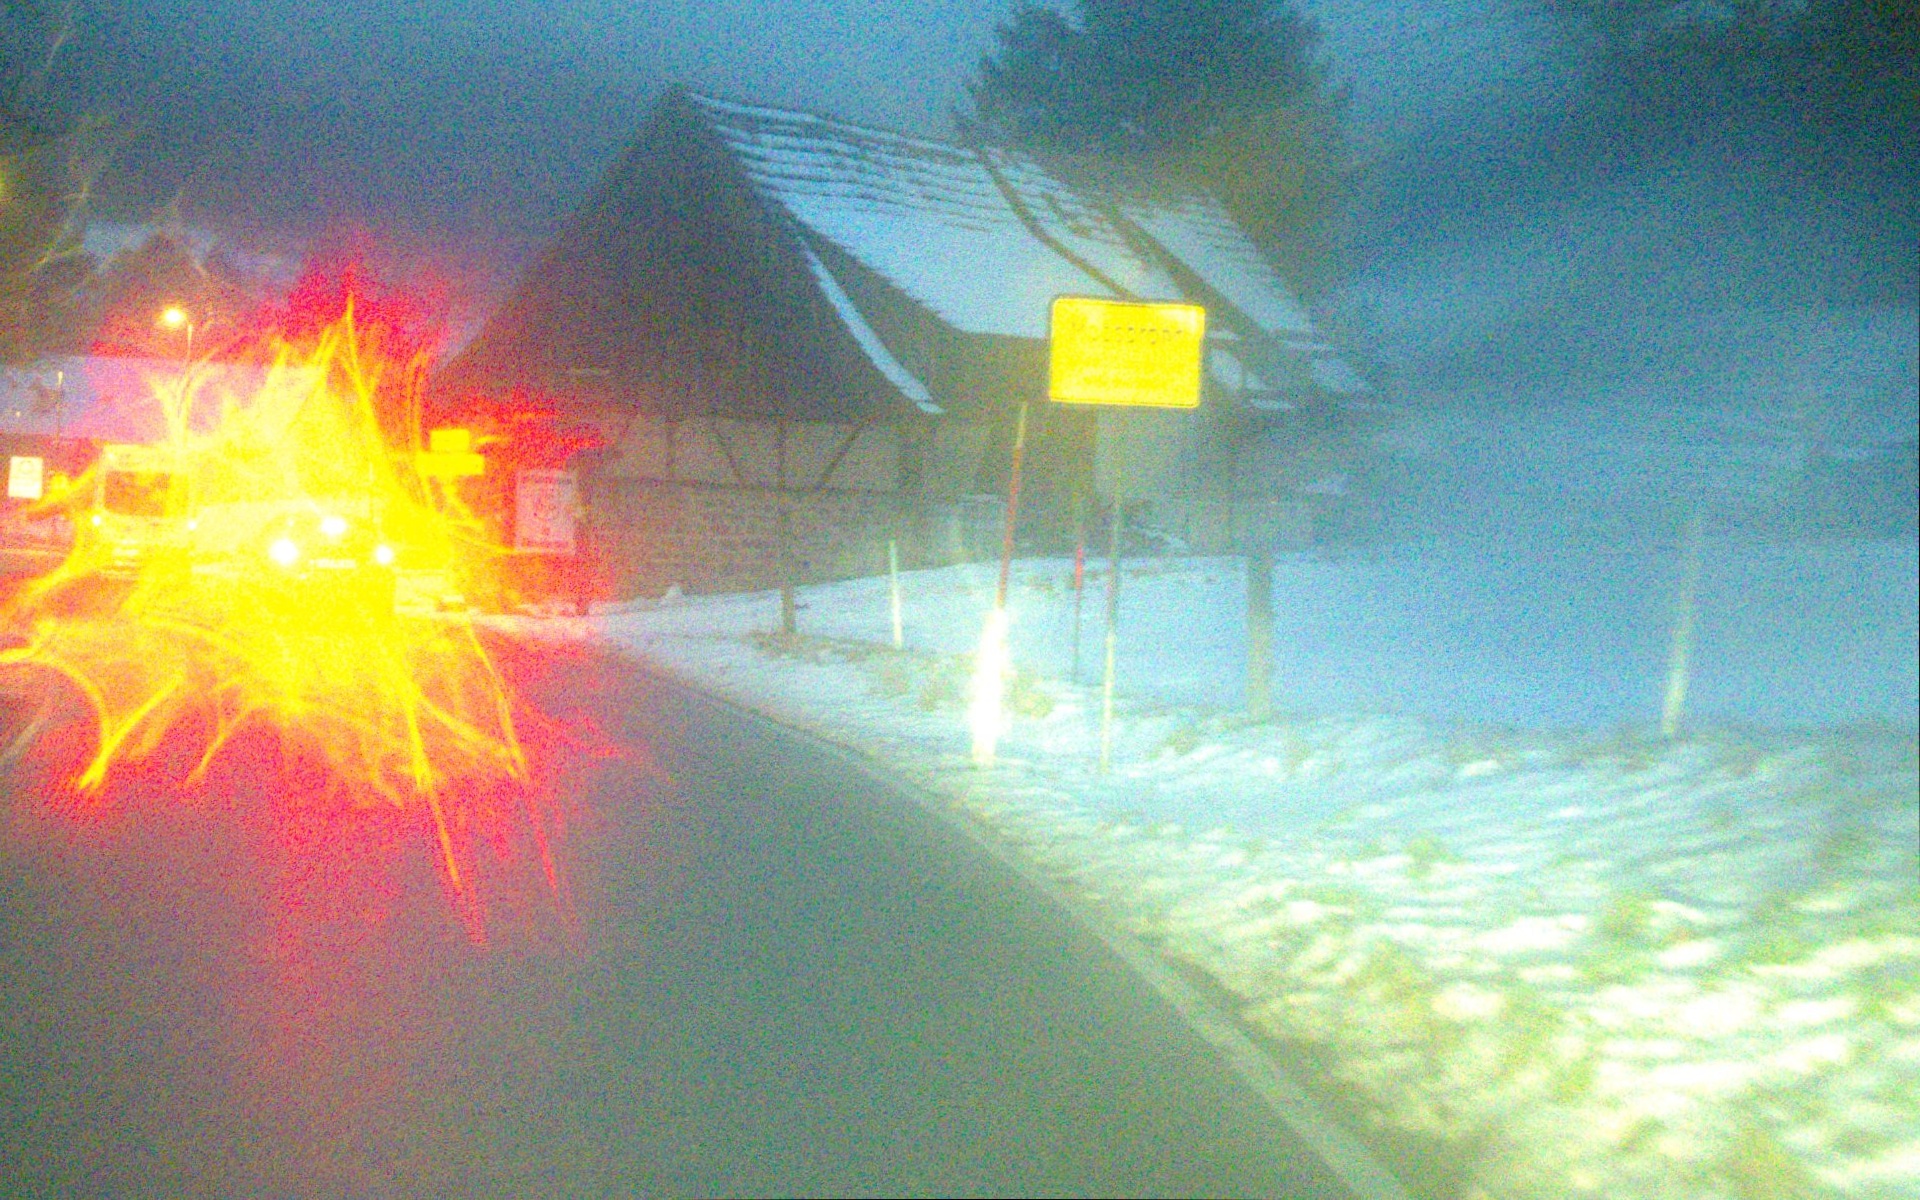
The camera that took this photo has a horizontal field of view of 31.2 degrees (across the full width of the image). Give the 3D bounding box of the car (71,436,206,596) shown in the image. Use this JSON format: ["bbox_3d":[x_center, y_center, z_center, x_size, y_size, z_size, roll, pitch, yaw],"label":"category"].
[{"bbox_3d":[-16.178,-1.605,67.927,2.434,3.008,5.326,0,0,-12],"label":"car"}]

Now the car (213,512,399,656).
[{"bbox_3d":[-8.960,-0.275,46.803,2.273,1.834,5.008,-1,2,-13],"label":"car"}]
